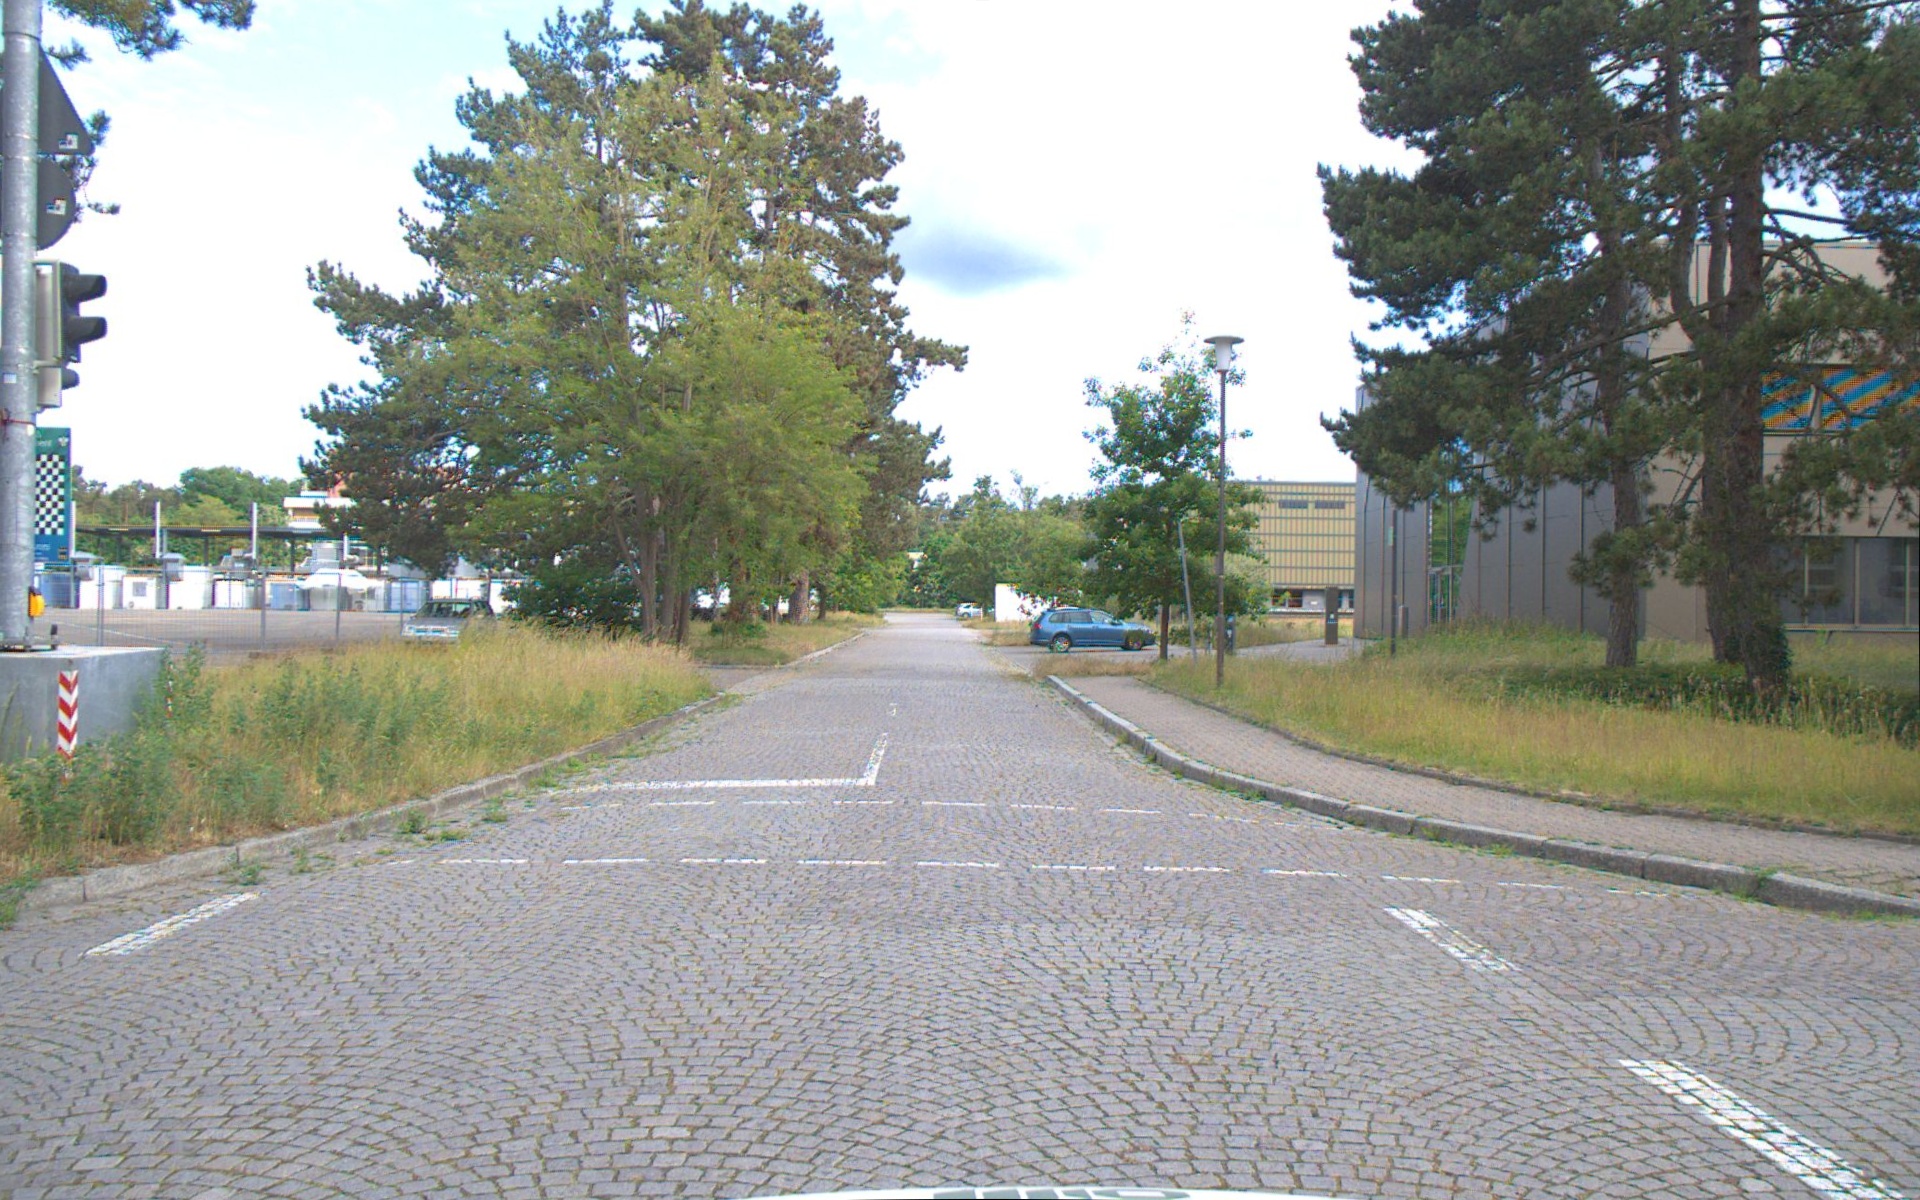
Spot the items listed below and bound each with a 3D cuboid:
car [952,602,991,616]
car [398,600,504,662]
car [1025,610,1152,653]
[{"bbox_3d":[1.195,0.957,175.493,3.911,1.422,1.997,1,0,-7],"label":"car"},{"bbox_3d":[-13.266,0.781,43.304,1.580,1.513,3.999,1,0,-1],"label":"car"},{"bbox_3d":[4.526,1.114,58.504,4.258,1.447,1.999,1,0,-3],"label":"car"}]
